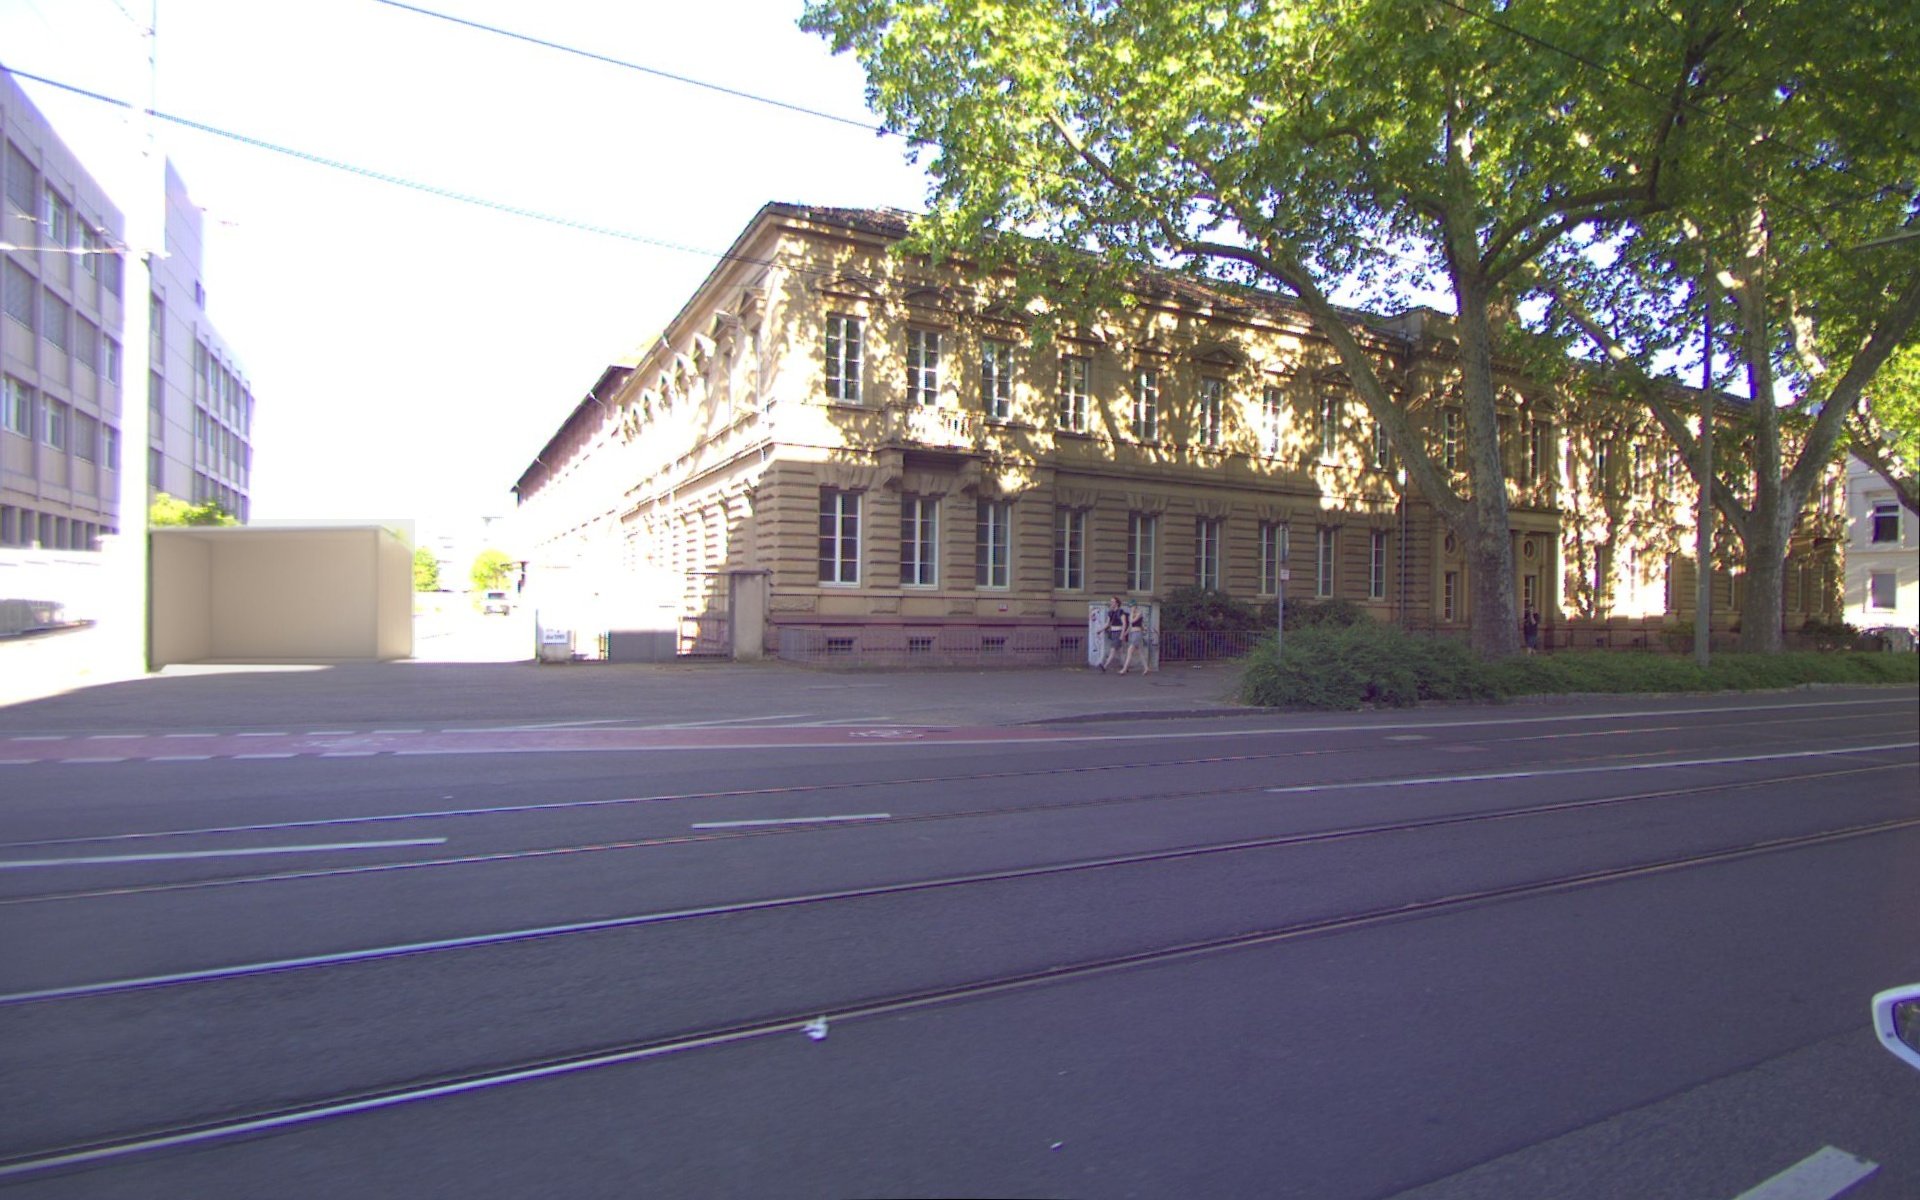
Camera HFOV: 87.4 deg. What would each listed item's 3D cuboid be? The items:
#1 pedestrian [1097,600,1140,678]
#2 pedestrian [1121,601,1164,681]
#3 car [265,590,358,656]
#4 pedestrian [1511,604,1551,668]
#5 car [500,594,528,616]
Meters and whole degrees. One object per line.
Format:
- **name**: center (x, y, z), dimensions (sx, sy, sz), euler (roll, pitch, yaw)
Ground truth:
- **pedestrian**: center (3.577, 0.868, 22.646), dimensions (0.655, 1.720, 0.666), euler (1, 0, -35)
- **pedestrian**: center (4.025, 0.888, 22.138), dimensions (0.650, 1.720, 0.629), euler (1, 0, -35)
- **car**: center (-18.558, 0.606, 28.918), dimensions (1.830, 1.742, 4.250), euler (1, 0, -28)
- **pedestrian**: center (17.175, 1.067, 30.212), dimensions (0.828, 1.874, 0.715), euler (1, 0, -31)
- **car**: center (-36.491, 0.418, 82.095), dimensions (1.830, 1.742, 4.250), euler (1, 0, -28)
